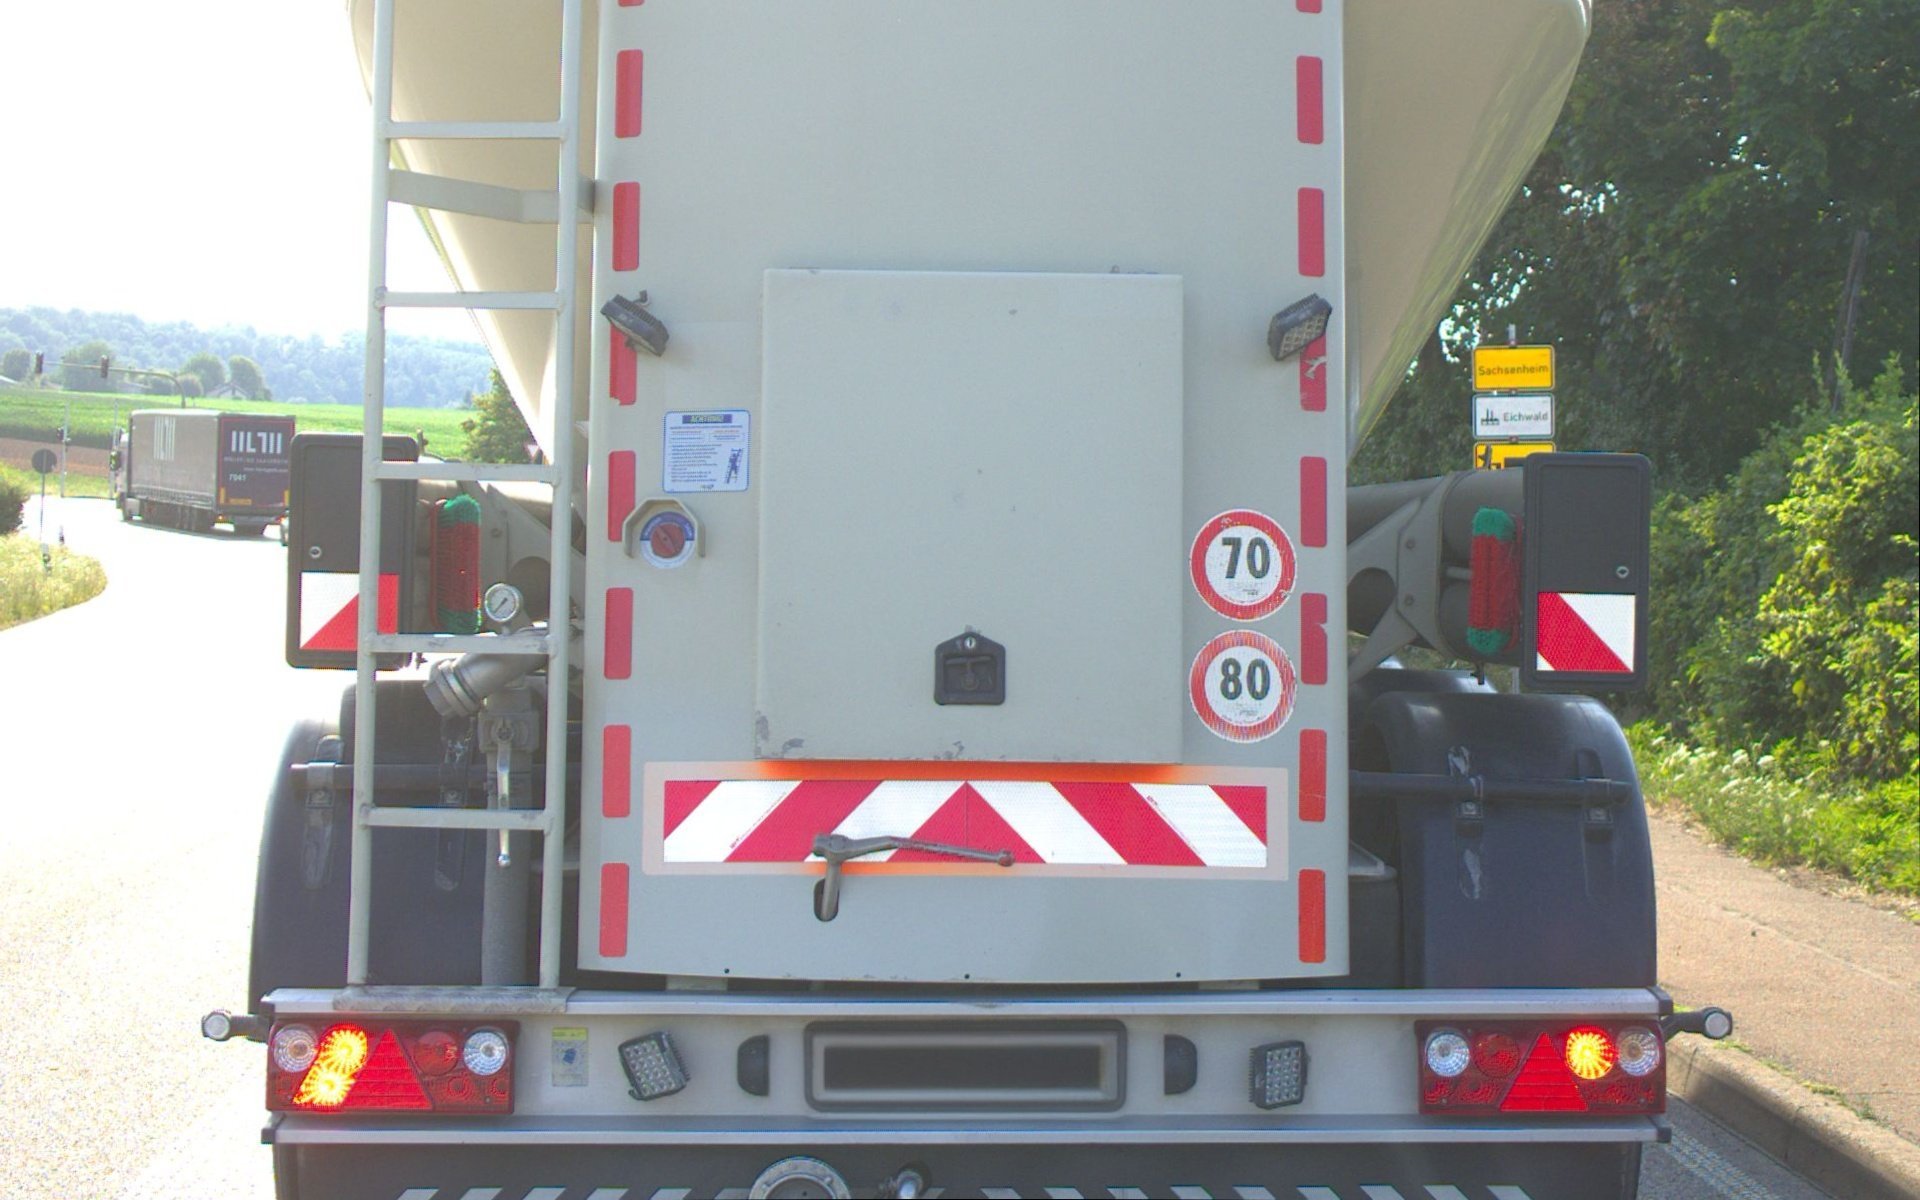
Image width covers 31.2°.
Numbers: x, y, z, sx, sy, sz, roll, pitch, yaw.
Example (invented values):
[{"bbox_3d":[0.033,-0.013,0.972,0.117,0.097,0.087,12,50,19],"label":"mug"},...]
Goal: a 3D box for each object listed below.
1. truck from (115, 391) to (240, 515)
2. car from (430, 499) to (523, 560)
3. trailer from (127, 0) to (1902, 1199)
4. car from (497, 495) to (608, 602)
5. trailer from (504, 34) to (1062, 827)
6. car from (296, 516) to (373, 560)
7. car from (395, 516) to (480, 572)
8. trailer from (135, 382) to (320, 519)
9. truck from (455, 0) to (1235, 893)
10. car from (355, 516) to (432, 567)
[{"bbox_3d":[-28.977,-5.403,127.167,3.375,4.335,5.707,2,1,-24],"label":"truck"},{"bbox_3d":[-11.474,-1.685,81.475,1.580,1.336,3.427,2,1,-18],"label":"car"},{"bbox_3d":[-0.247,-0.834,10.601,2.909,3.992,9.932,1,1,-4],"label":"trailer"},{"bbox_3d":[-7.988,-1.017,67.161,1.861,2.007,3.720,1,1,-11],"label":"car"},{"bbox_3d":[-1.040,-1.085,26.194,2.955,4.300,14.176,2,1,0],"label":"trailer"},{"bbox_3d":[-18.587,-1.855,102.061,1.769,1.201,3.427,2,1,-18],"label":"car"},{"bbox_3d":[-13.354,-1.432,87.707,1.580,1.336,3.427,2,1,-18],"label":"car"},{"bbox_3d":[-25.610,-5.132,119.445,3.375,4.335,14.298,2,1,-24],"label":"trailer"},{"bbox_3d":[-0.586,-0.933,15.005,2.909,3.992,4.060,1,1,-5],"label":"truck"},{"bbox_3d":[-15.791,-1.643,95.779,1.580,1.336,3.427,2,1,-18],"label":"car"}]
